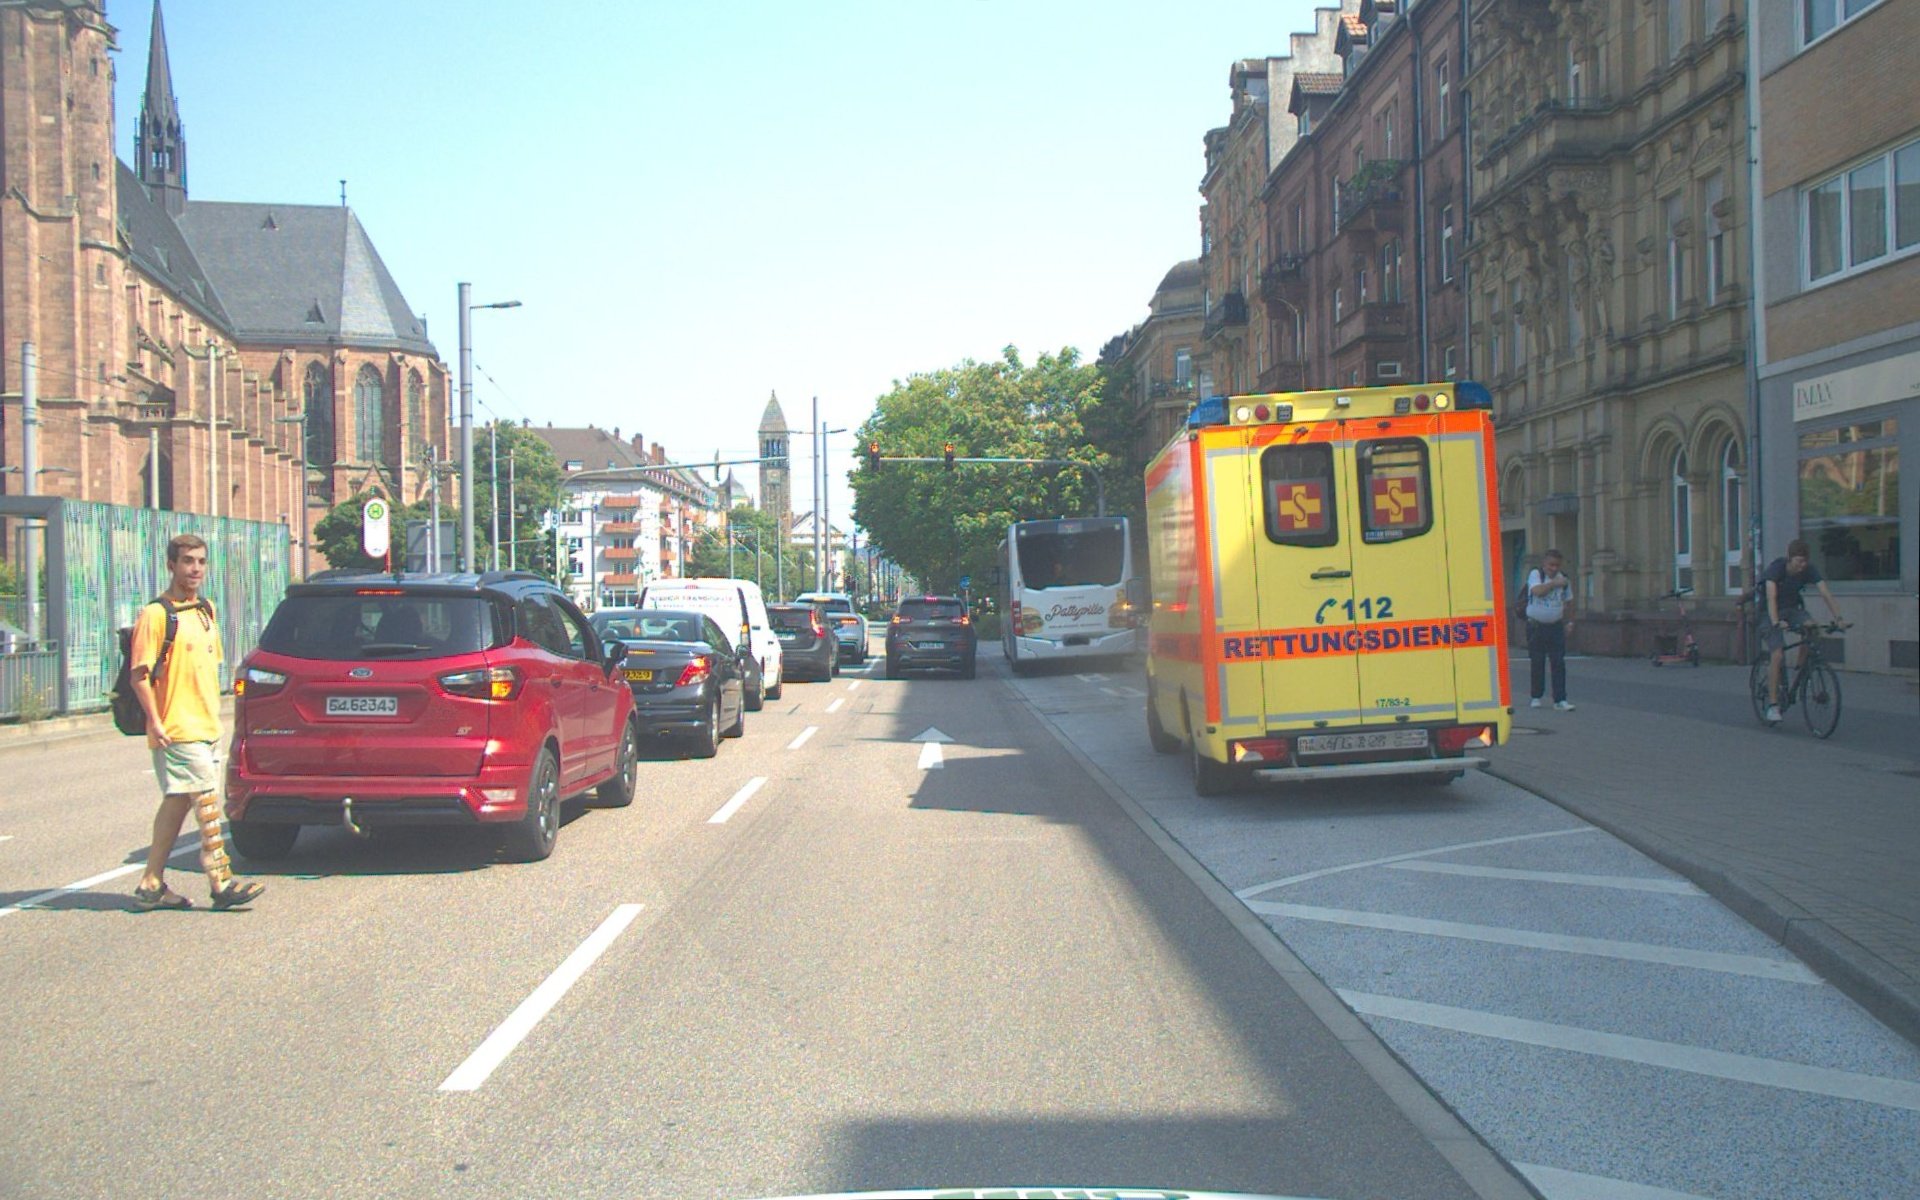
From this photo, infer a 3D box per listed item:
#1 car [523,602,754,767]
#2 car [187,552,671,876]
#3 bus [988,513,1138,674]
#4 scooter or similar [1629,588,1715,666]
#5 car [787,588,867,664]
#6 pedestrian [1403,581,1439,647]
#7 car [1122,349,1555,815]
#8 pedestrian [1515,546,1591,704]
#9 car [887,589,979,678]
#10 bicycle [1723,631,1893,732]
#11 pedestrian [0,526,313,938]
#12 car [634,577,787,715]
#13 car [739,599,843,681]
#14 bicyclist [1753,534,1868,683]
[{"bbox_3d":[-3.191,0.774,17.162,1.754,1.456,3.998,-1,0,-3],"label":"car"},{"bbox_3d":[-3.126,0.621,10.653,1.726,1.646,4.082,-1,-1,1],"label":"car"},{"bbox_3d":[2.113,-0.124,38.499,2.482,3.085,12.433,-1,0,-1],"label":"bus"},{"bbox_3d":[11.383,0.425,26.474,0.505,1.217,1.296,-1,0,-20],"label":"scooter or similar"},{"bbox_3d":[-3.210,0.636,40.470,1.754,1.728,3.998,-1,-1,-2],"label":"car"},{"bbox_3d":[11.498,0.345,41.236,0.611,1.621,0.695,-1,0,-7],"label":"pedestrian"},{"bbox_3d":[2.737,-0.134,13.567,2.252,2.939,5.600,-2,0,1],"label":"car"},{"bbox_3d":[6.531,0.266,18.206,0.683,1.696,0.602,-2,0,25],"label":"pedestrian"},{"bbox_3d":[-0.590,0.675,34.036,1.754,1.707,3.998,-1,-1,-2],"label":"car"},{"bbox_3d":[7.890,0.738,15.473,0.577,0.870,1.774,-2,-1,-2],"label":"bicycle"},{"bbox_3d":[-3.677,0.583,7.633,1.043,1.782,0.763,-1,-1,2],"label":"pedestrian"},{"bbox_3d":[-3.558,0.644,24.231,1.754,1.811,3.998,-1,-1,-2],"label":"car"},{"bbox_3d":[-3.271,0.767,32.583,1.754,1.498,3.998,-1,-1,-2],"label":"car"},{"bbox_3d":[7.877,0.077,15.342,0.737,1.345,0.581,-1,0,-1],"label":"bicyclist"}]
